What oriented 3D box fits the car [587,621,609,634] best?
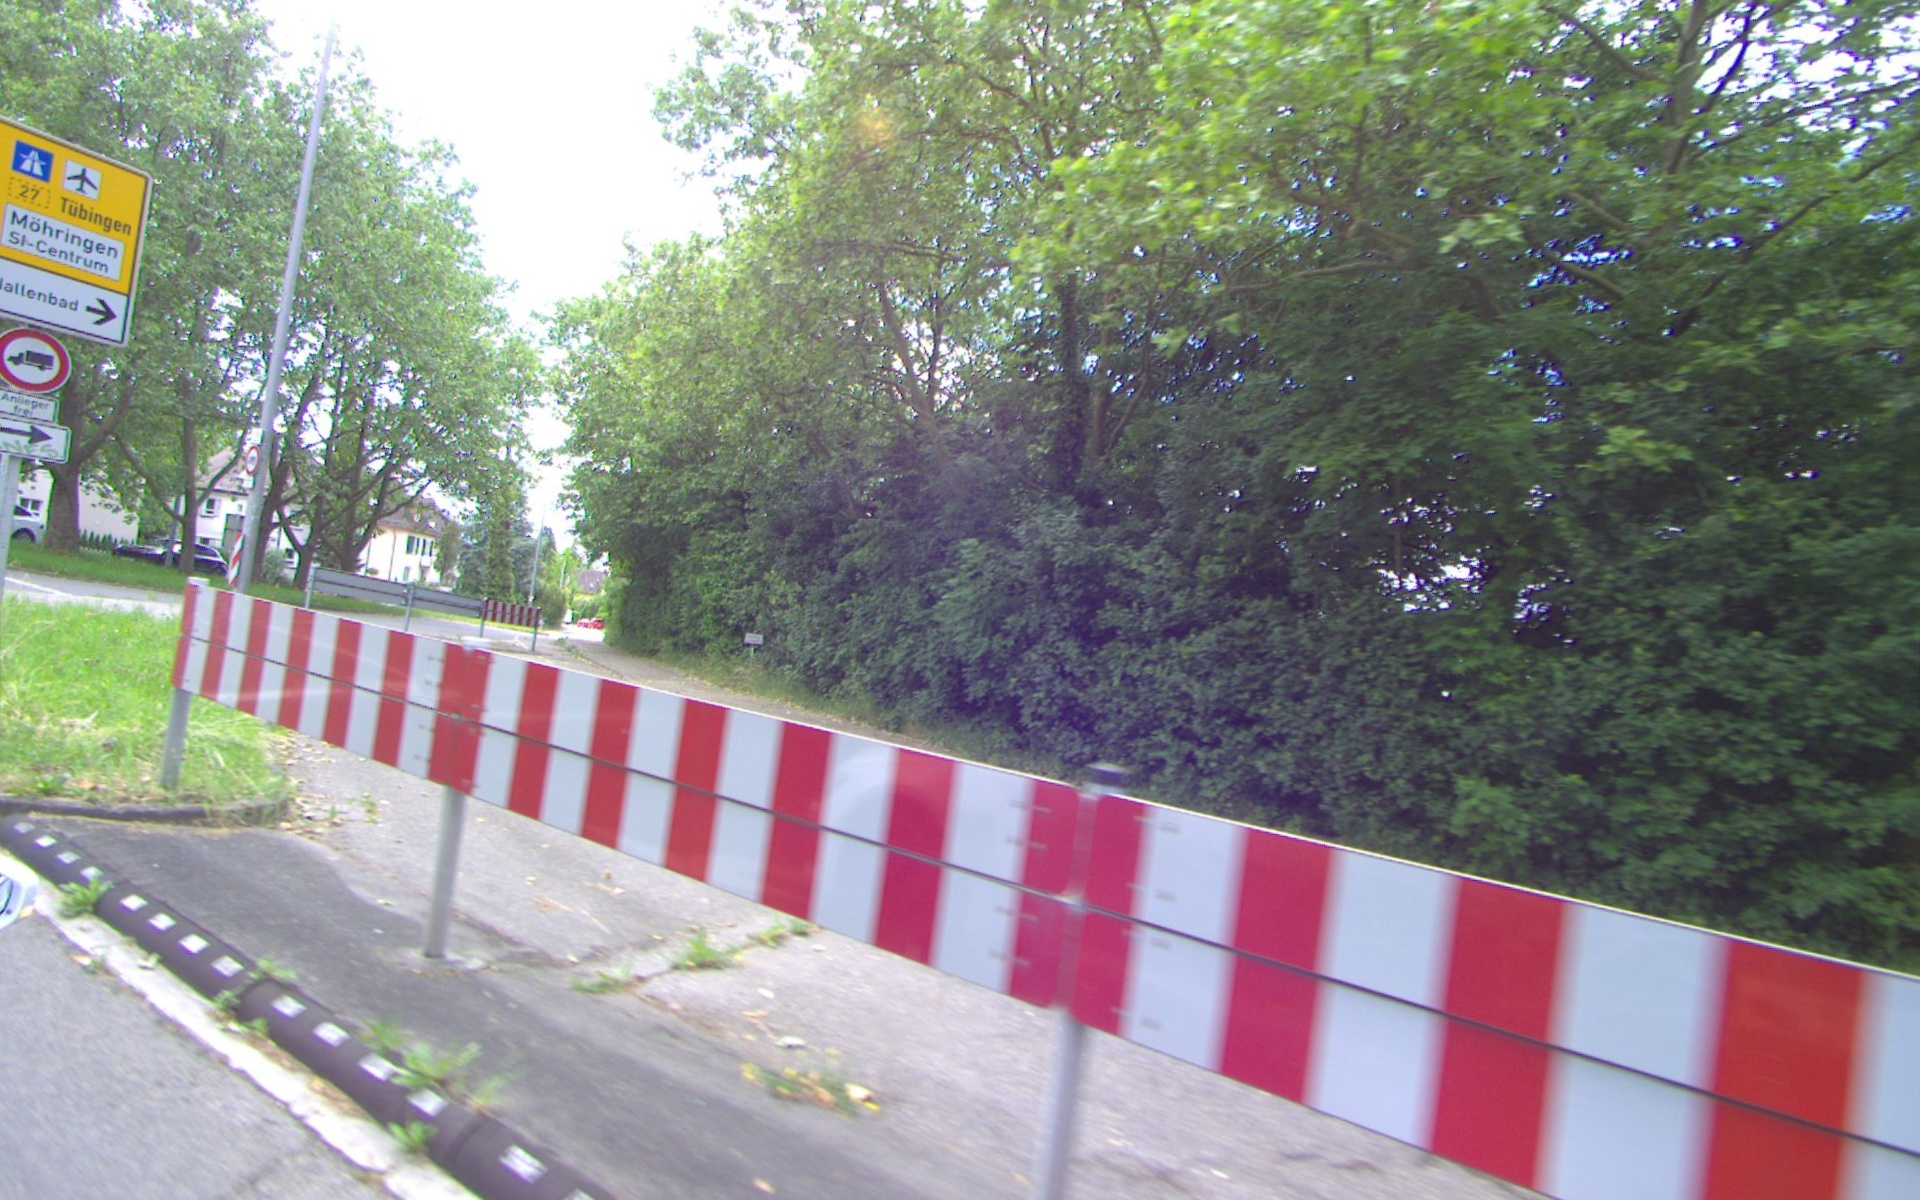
[{"bbox_3d":[-58.285,4.416,161.848,1.752,1.816,4.904,10,-4,-36],"label":"car"}]

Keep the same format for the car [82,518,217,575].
[{"bbox_3d":[-33.167,-2.142,41.372,1.731,1.608,4.616,9,-3,-2],"label":"car"}]

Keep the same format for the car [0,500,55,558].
[{"bbox_3d":[-31.527,-2.506,31.521,1.824,1.676,4.909,9,-3,-3],"label":"car"}]
